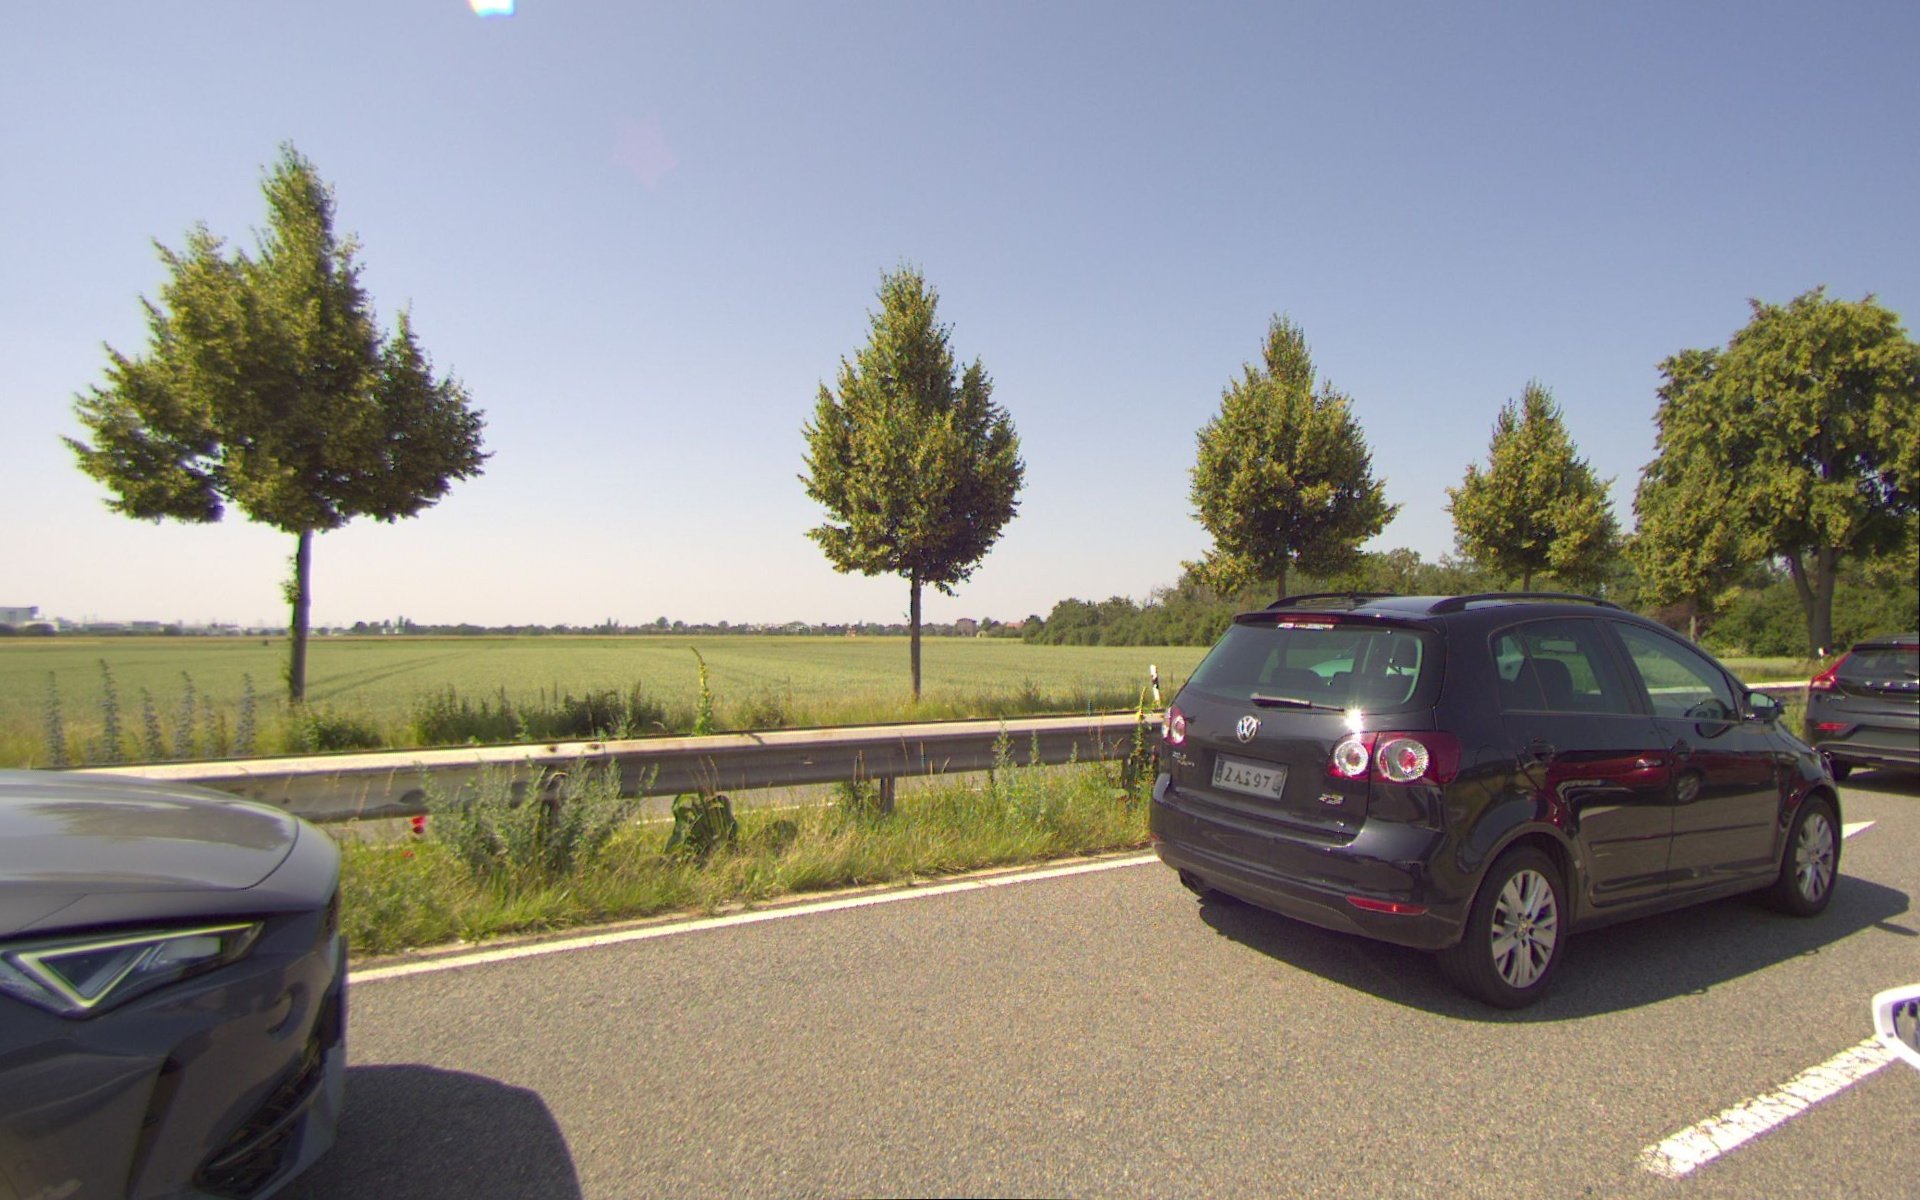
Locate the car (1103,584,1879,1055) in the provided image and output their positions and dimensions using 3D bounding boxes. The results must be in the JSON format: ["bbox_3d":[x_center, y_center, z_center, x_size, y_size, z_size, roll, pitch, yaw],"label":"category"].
[{"bbox_3d":[2.787,0.772,5.118,3.846,1.597,1.715,1,0,-30],"label":"car"}]

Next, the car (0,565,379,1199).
[{"bbox_3d":[-3.355,0.682,1.471,4.312,1.523,1.737,1,0,-31],"label":"car"}]

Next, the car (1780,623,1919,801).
[{"bbox_3d":[9.689,0.975,9.517,3.908,1.461,1.694,1,0,-30],"label":"car"}]

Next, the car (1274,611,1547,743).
[{"bbox_3d":[6.602,1.028,14.589,4.093,1.660,1.735,1,-2,-34],"label":"car"}]
